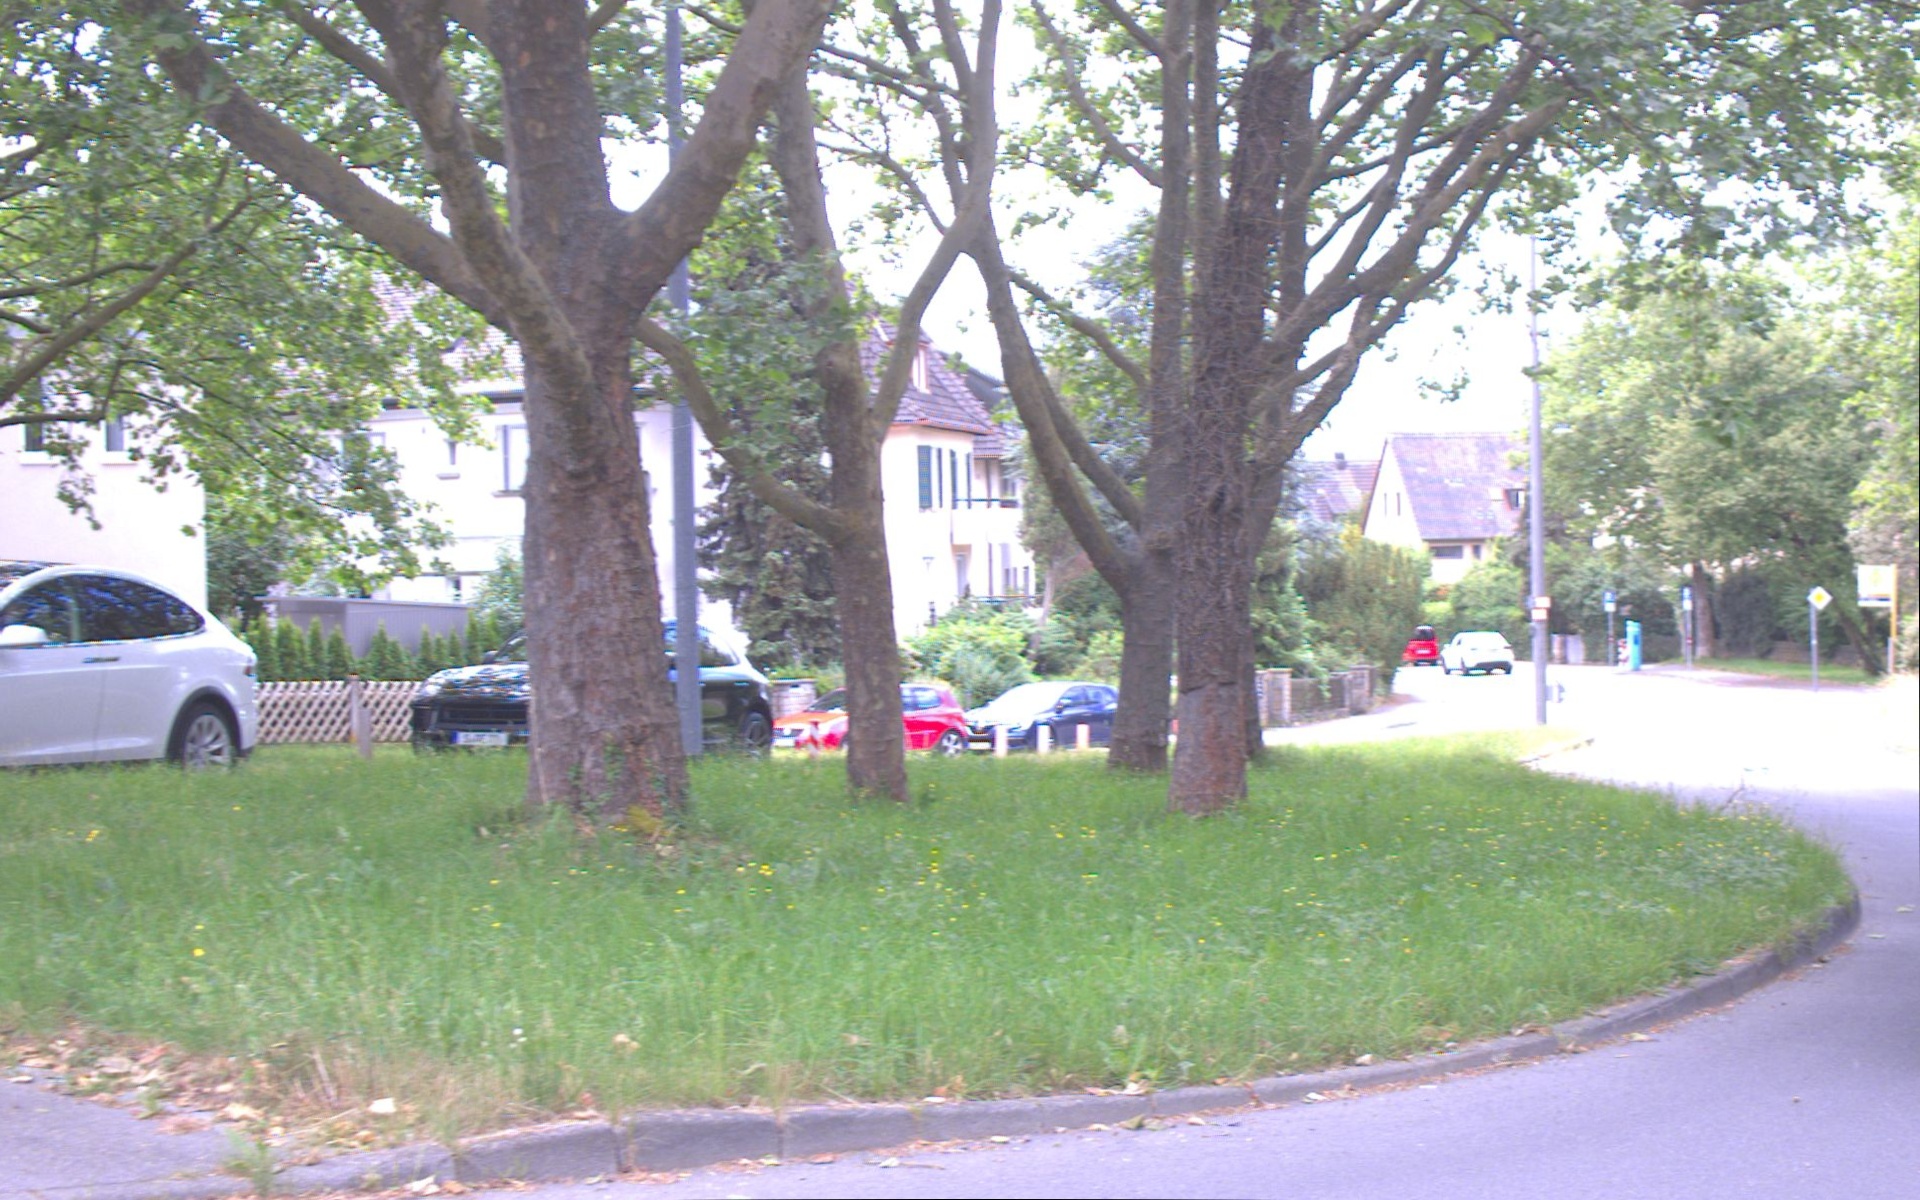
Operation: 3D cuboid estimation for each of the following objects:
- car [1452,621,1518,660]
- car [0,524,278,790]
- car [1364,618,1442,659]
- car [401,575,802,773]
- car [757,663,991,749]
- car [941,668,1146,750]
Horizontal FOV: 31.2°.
[{"bbox_3d":[20.123,1.567,131.833,1.727,1.469,3.382,0,-1,-5],"label":"car"},{"bbox_3d":[-6.615,0.342,22.692,1.853,1.652,4.902,0,2,20],"label":"car"},{"bbox_3d":[19.676,1.698,152.883,1.760,1.791,4.950,-1,0,-13],"label":"car"},{"bbox_3d":[-3.148,0.600,31.249,1.759,1.586,4.609,0,1,20],"label":"car"},{"bbox_3d":[-1.511,1.871,61.554,1.731,1.469,4.268,-1,-1,42],"label":"car"},{"bbox_3d":[1.628,2.054,65.596,1.731,1.469,4.305,-1,-1,37],"label":"car"}]
